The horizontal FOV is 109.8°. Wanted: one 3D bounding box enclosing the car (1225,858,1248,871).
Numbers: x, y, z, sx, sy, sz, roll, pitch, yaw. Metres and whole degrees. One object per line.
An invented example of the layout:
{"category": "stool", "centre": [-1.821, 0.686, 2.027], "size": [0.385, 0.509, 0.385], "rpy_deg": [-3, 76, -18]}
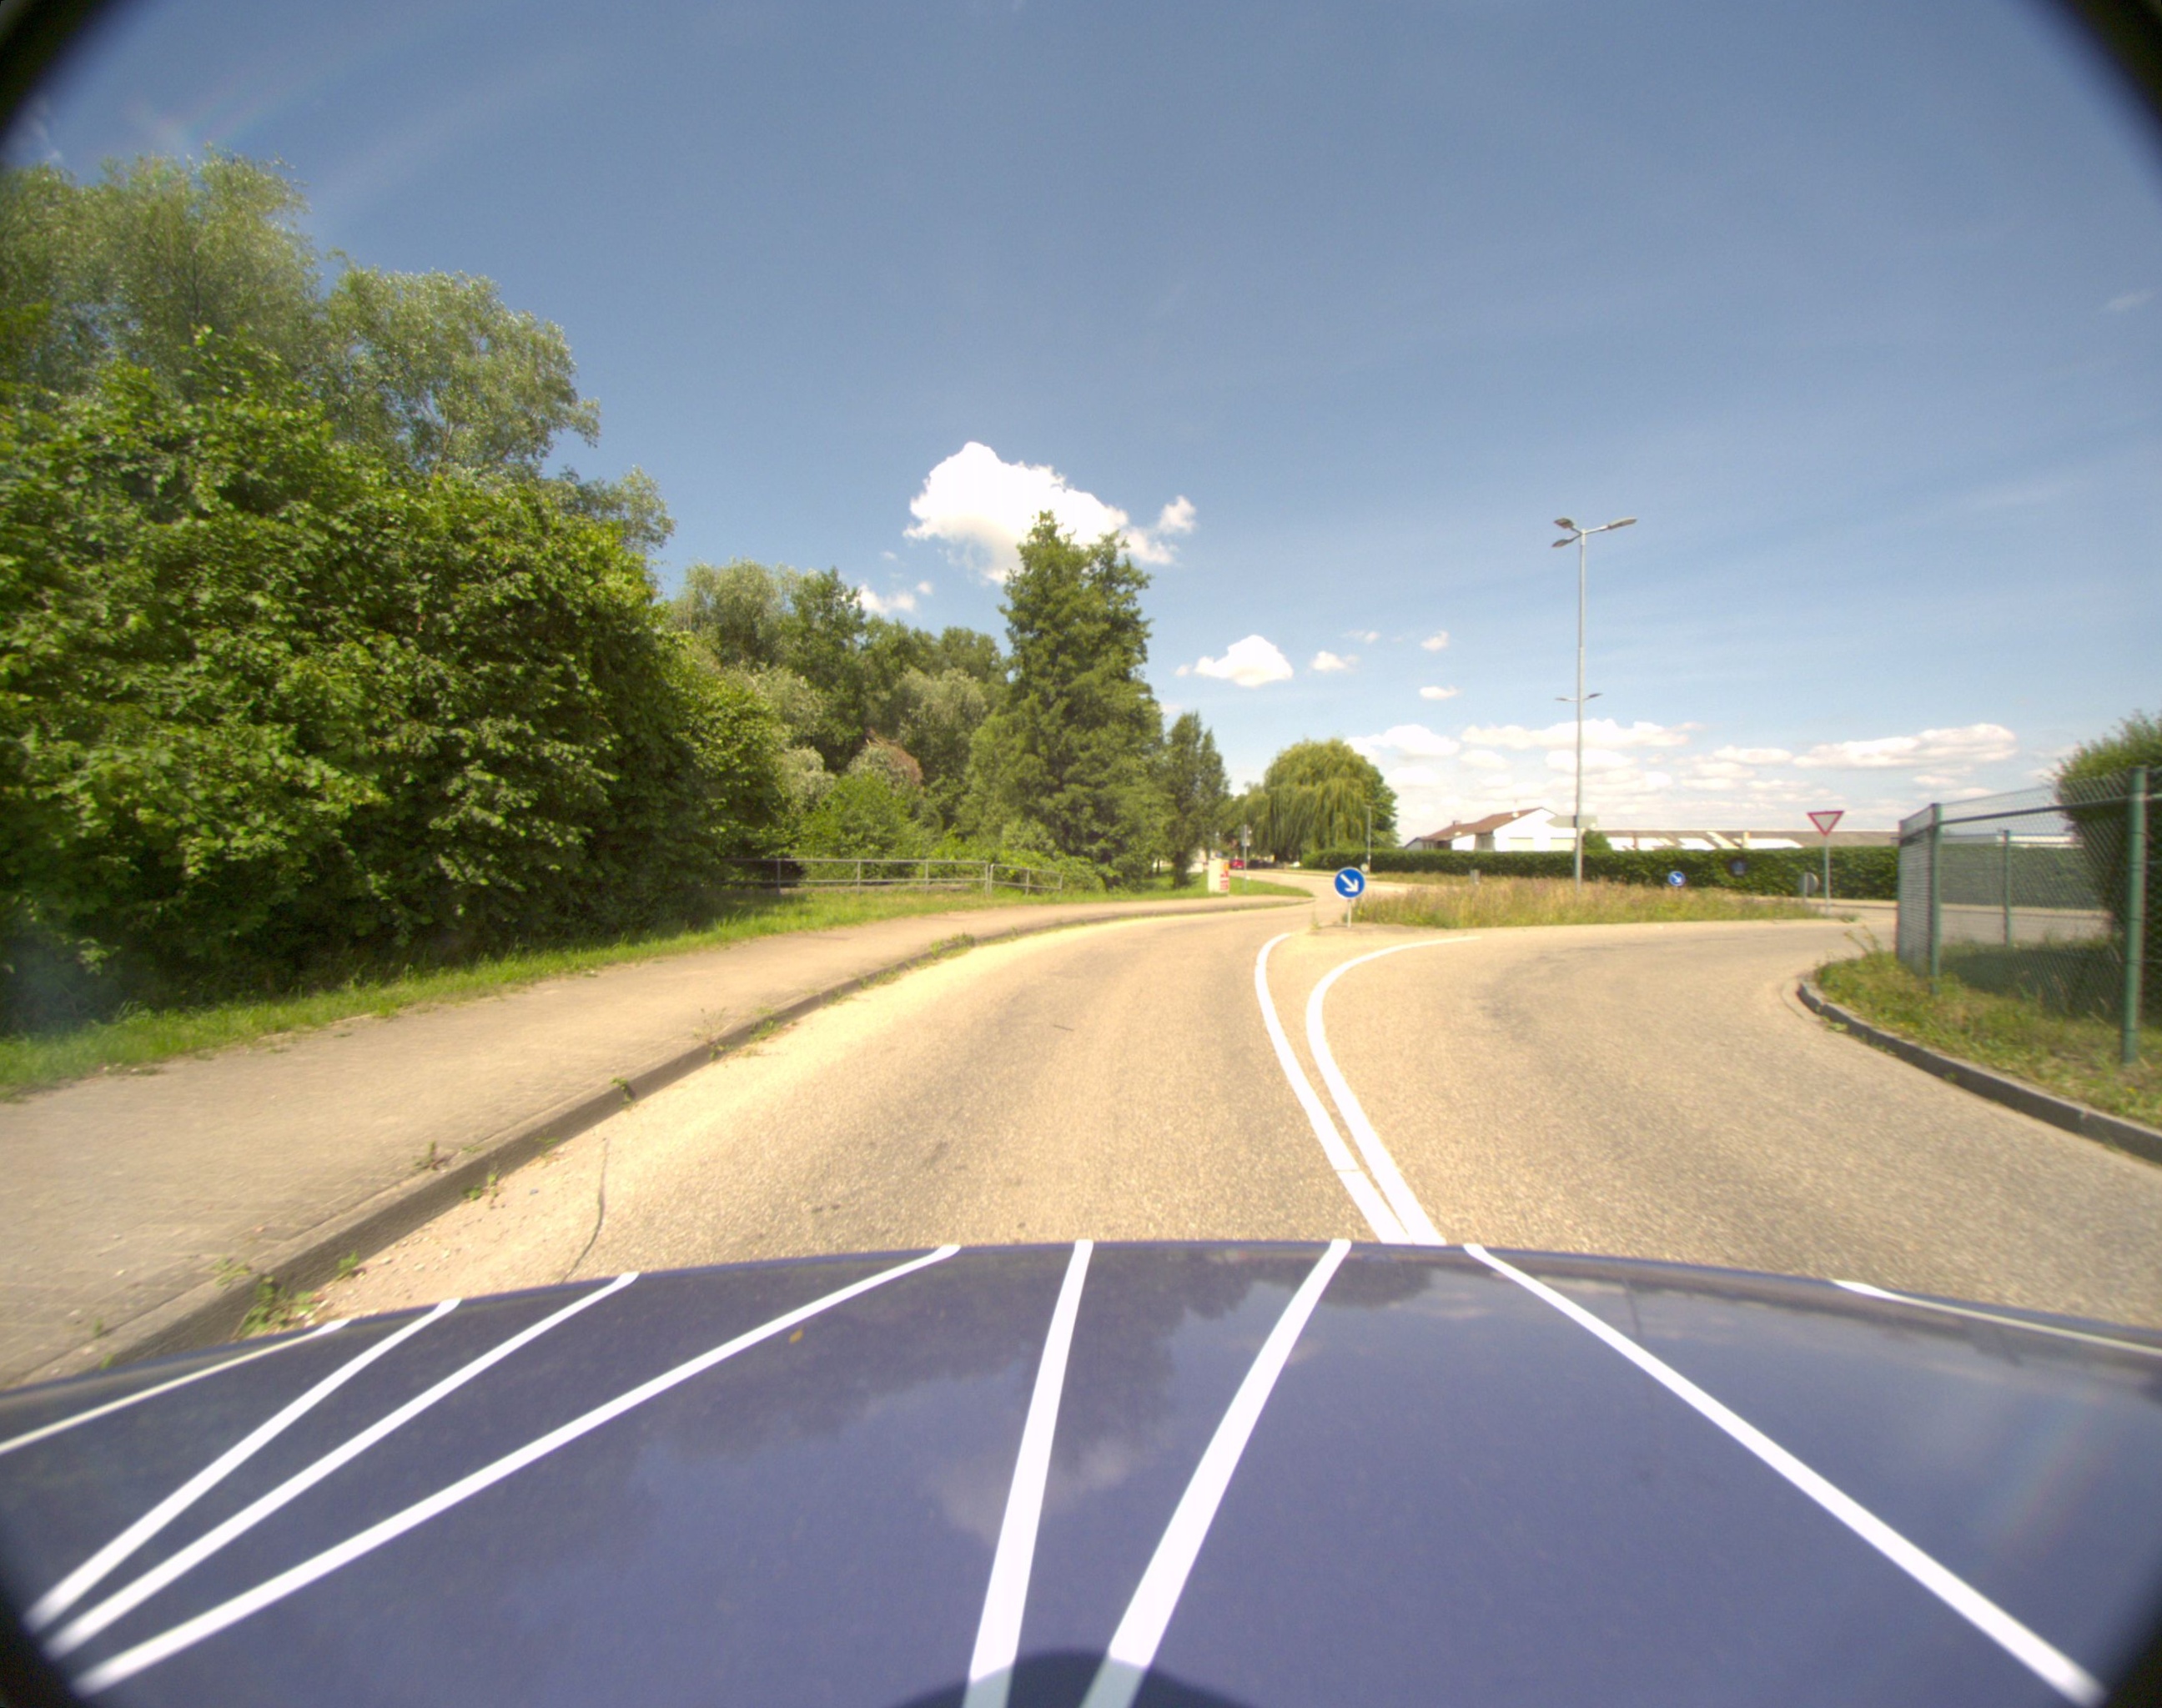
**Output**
{"category": "car", "centre": [19.562, 1.291, 95.765], "size": [1.885, 1.455, 4.386], "rpy_deg": [1, 0, -2]}
